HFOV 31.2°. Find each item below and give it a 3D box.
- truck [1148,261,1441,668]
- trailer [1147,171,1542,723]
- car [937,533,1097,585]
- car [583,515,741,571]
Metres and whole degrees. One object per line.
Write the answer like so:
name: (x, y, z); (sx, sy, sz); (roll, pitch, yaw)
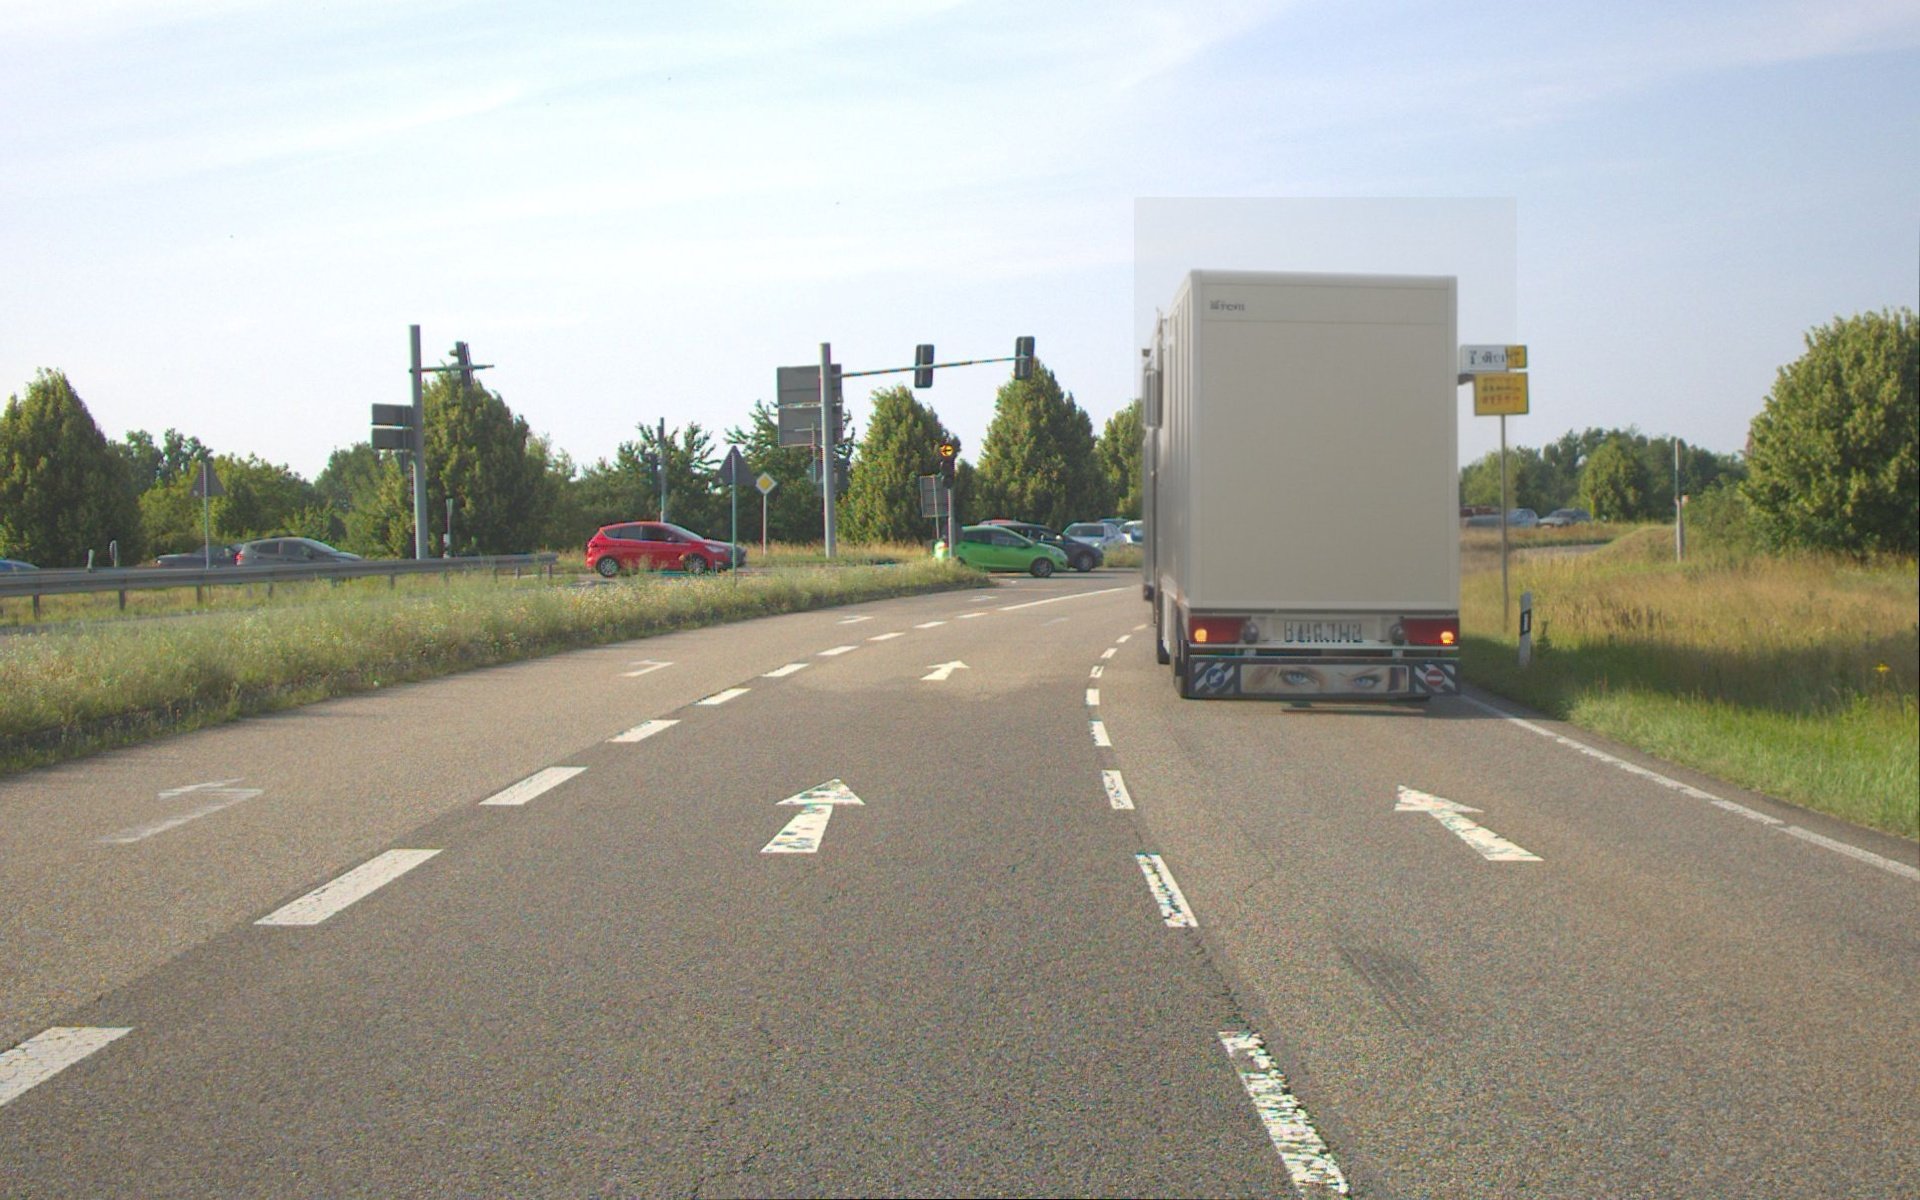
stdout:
truck: (3.995, -1.610, 42.365); (3.300, 4.641, 5.732); (1, 1, 3)
trailer: (3.618, -1.462, 35.783); (3.281, 4.665, 13.147); (1, 1, 3)
car: (1.624, -1.172, 98.859); (4.421, 1.412, 1.921); (1, 0, -5)
car: (-8.686, -1.649, 100.348); (4.265, 1.559, 1.901); (1, 0, 9)
